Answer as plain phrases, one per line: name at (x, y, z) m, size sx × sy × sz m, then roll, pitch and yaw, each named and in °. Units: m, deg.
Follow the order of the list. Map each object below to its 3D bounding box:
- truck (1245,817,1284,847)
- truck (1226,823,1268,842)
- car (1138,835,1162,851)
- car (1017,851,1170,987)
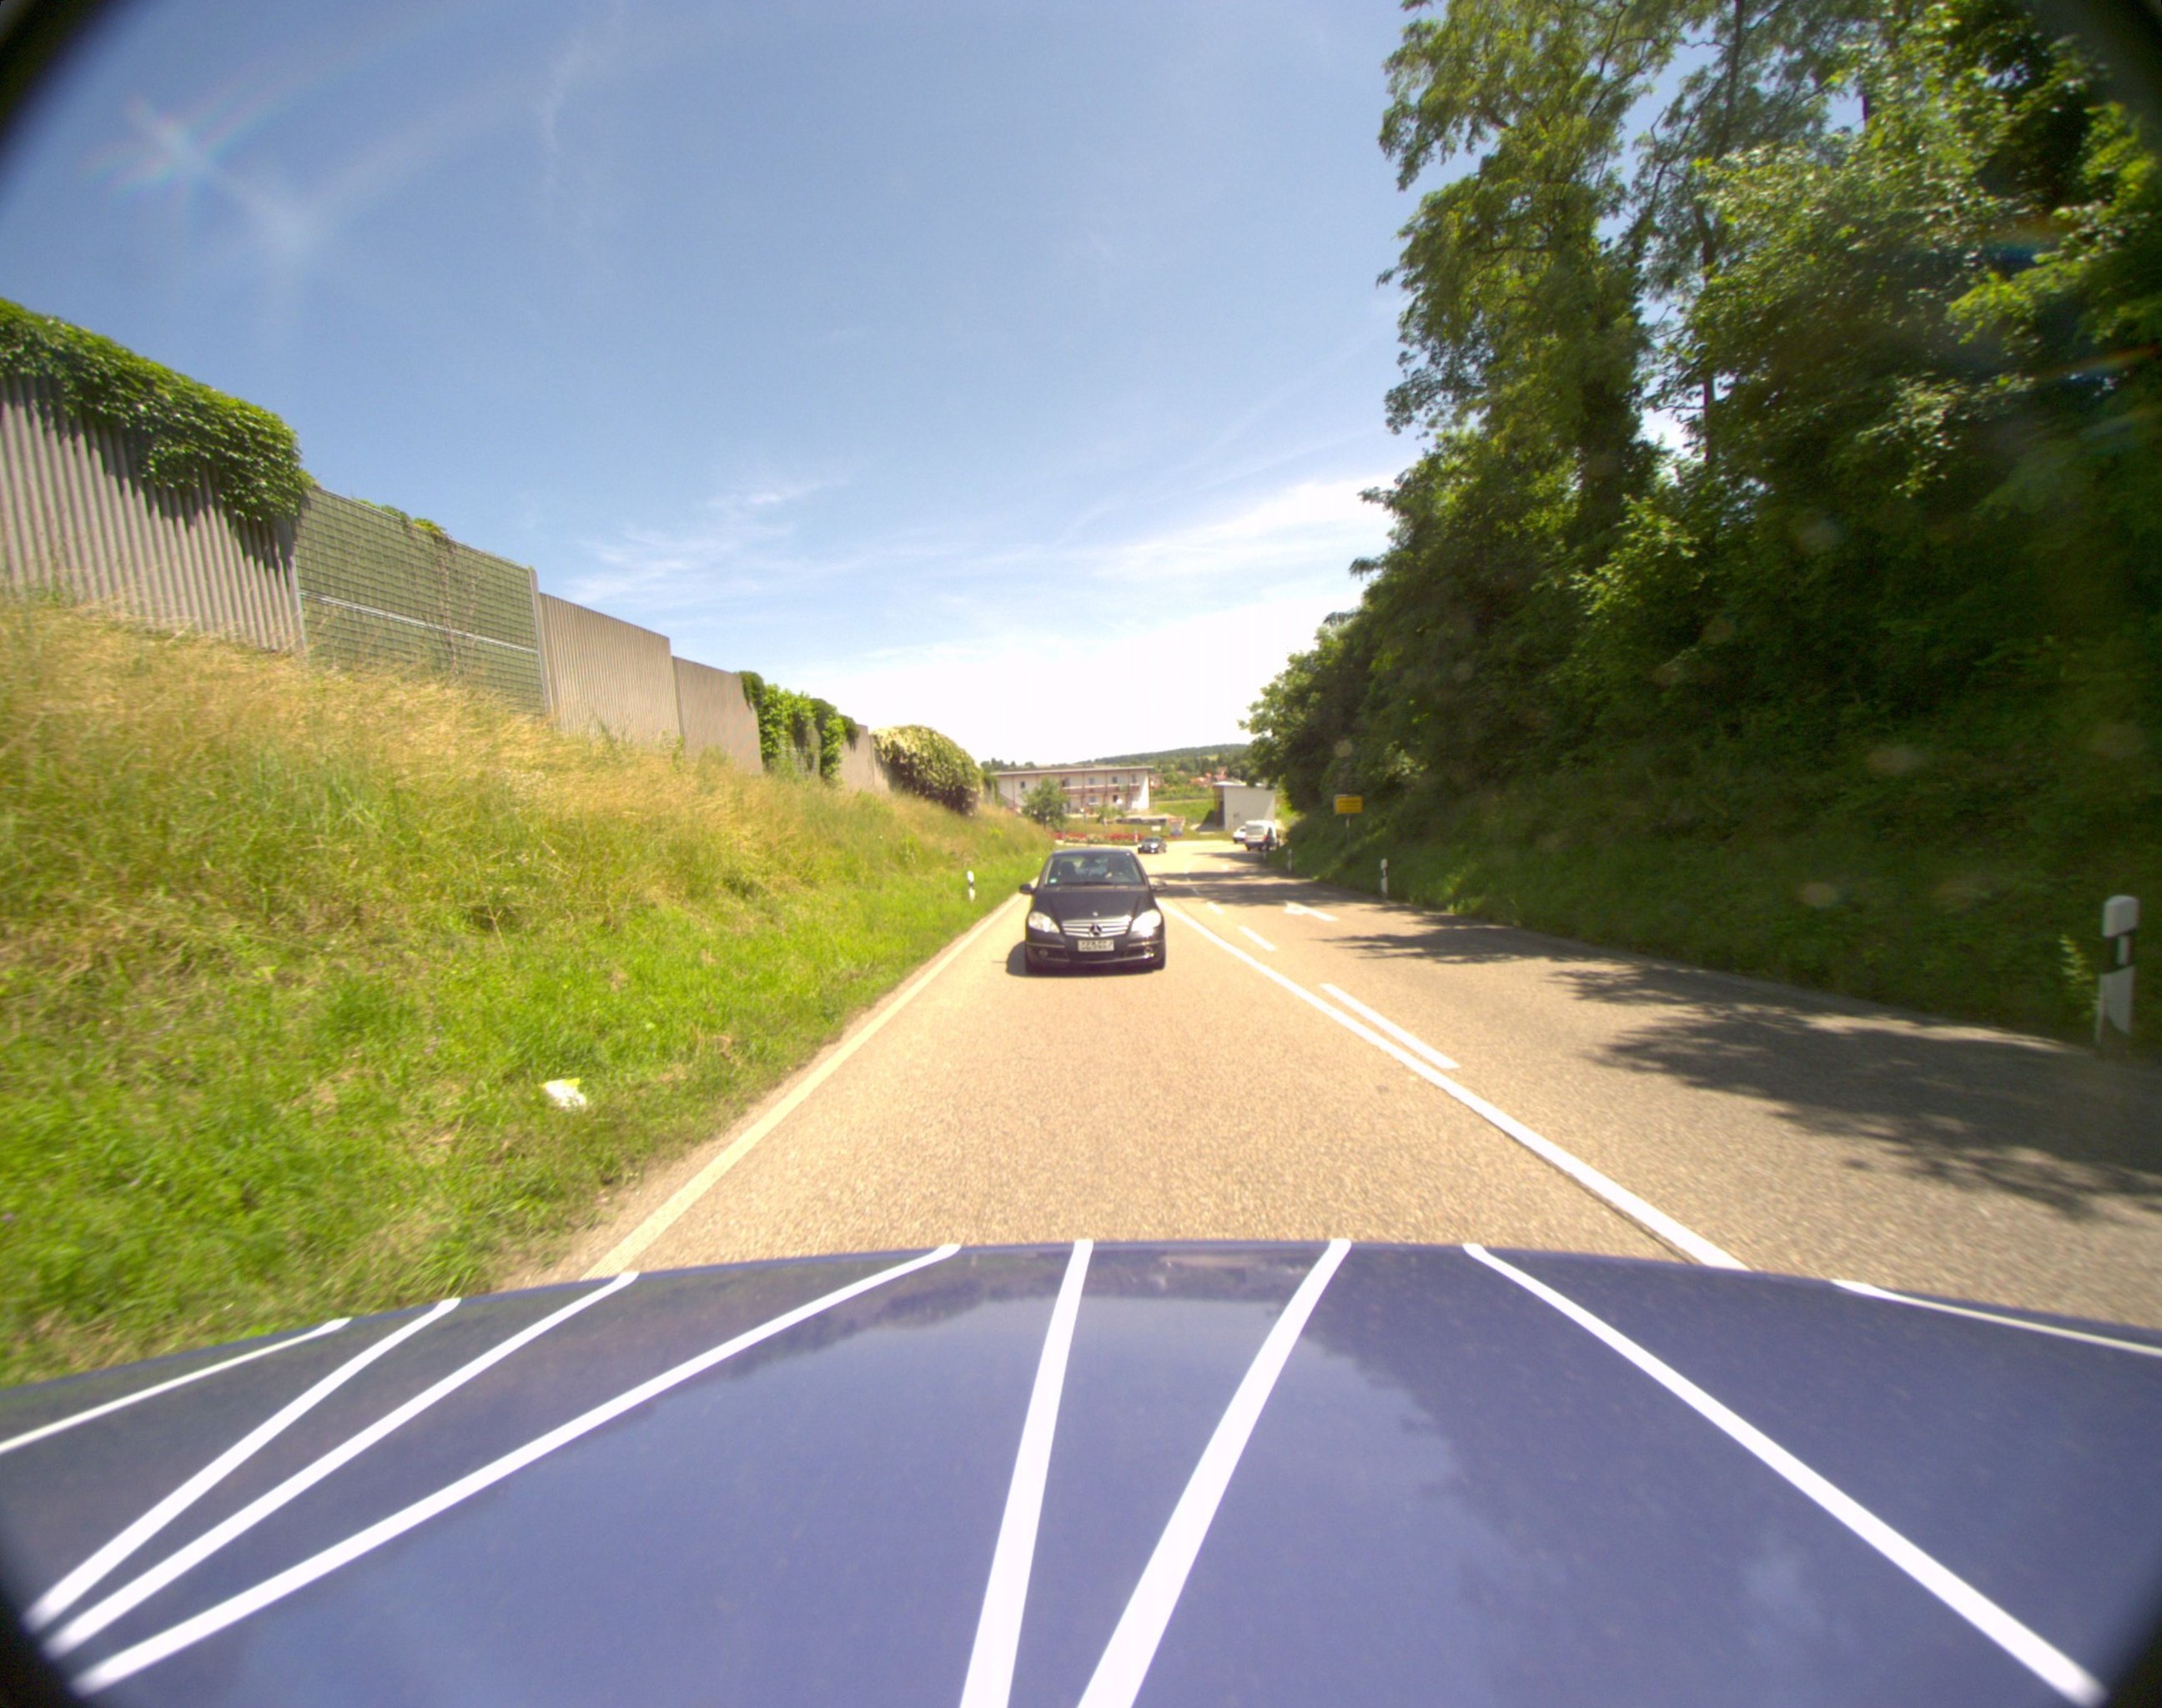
truck at (17.327, -2.084, 71.484) m, size 2.054 × 2.672 × 5.991 m, roll 1°, pitch 2°, yaw 28°
truck at (19.122, -2.491, 87.385) m, size 5.254 × 2.002 × 2.066 m, roll -4°, pitch 3°, yaw -42°
car at (5.780, -0.950, 64.122) m, size 1.755 × 1.281 × 4.144 m, roll -1°, pitch 2°, yaw 2°
car at (0.229, 0.770, 10.915) m, size 1.795 × 1.570 × 3.800 m, roll -1°, pitch 1°, yaw 2°
